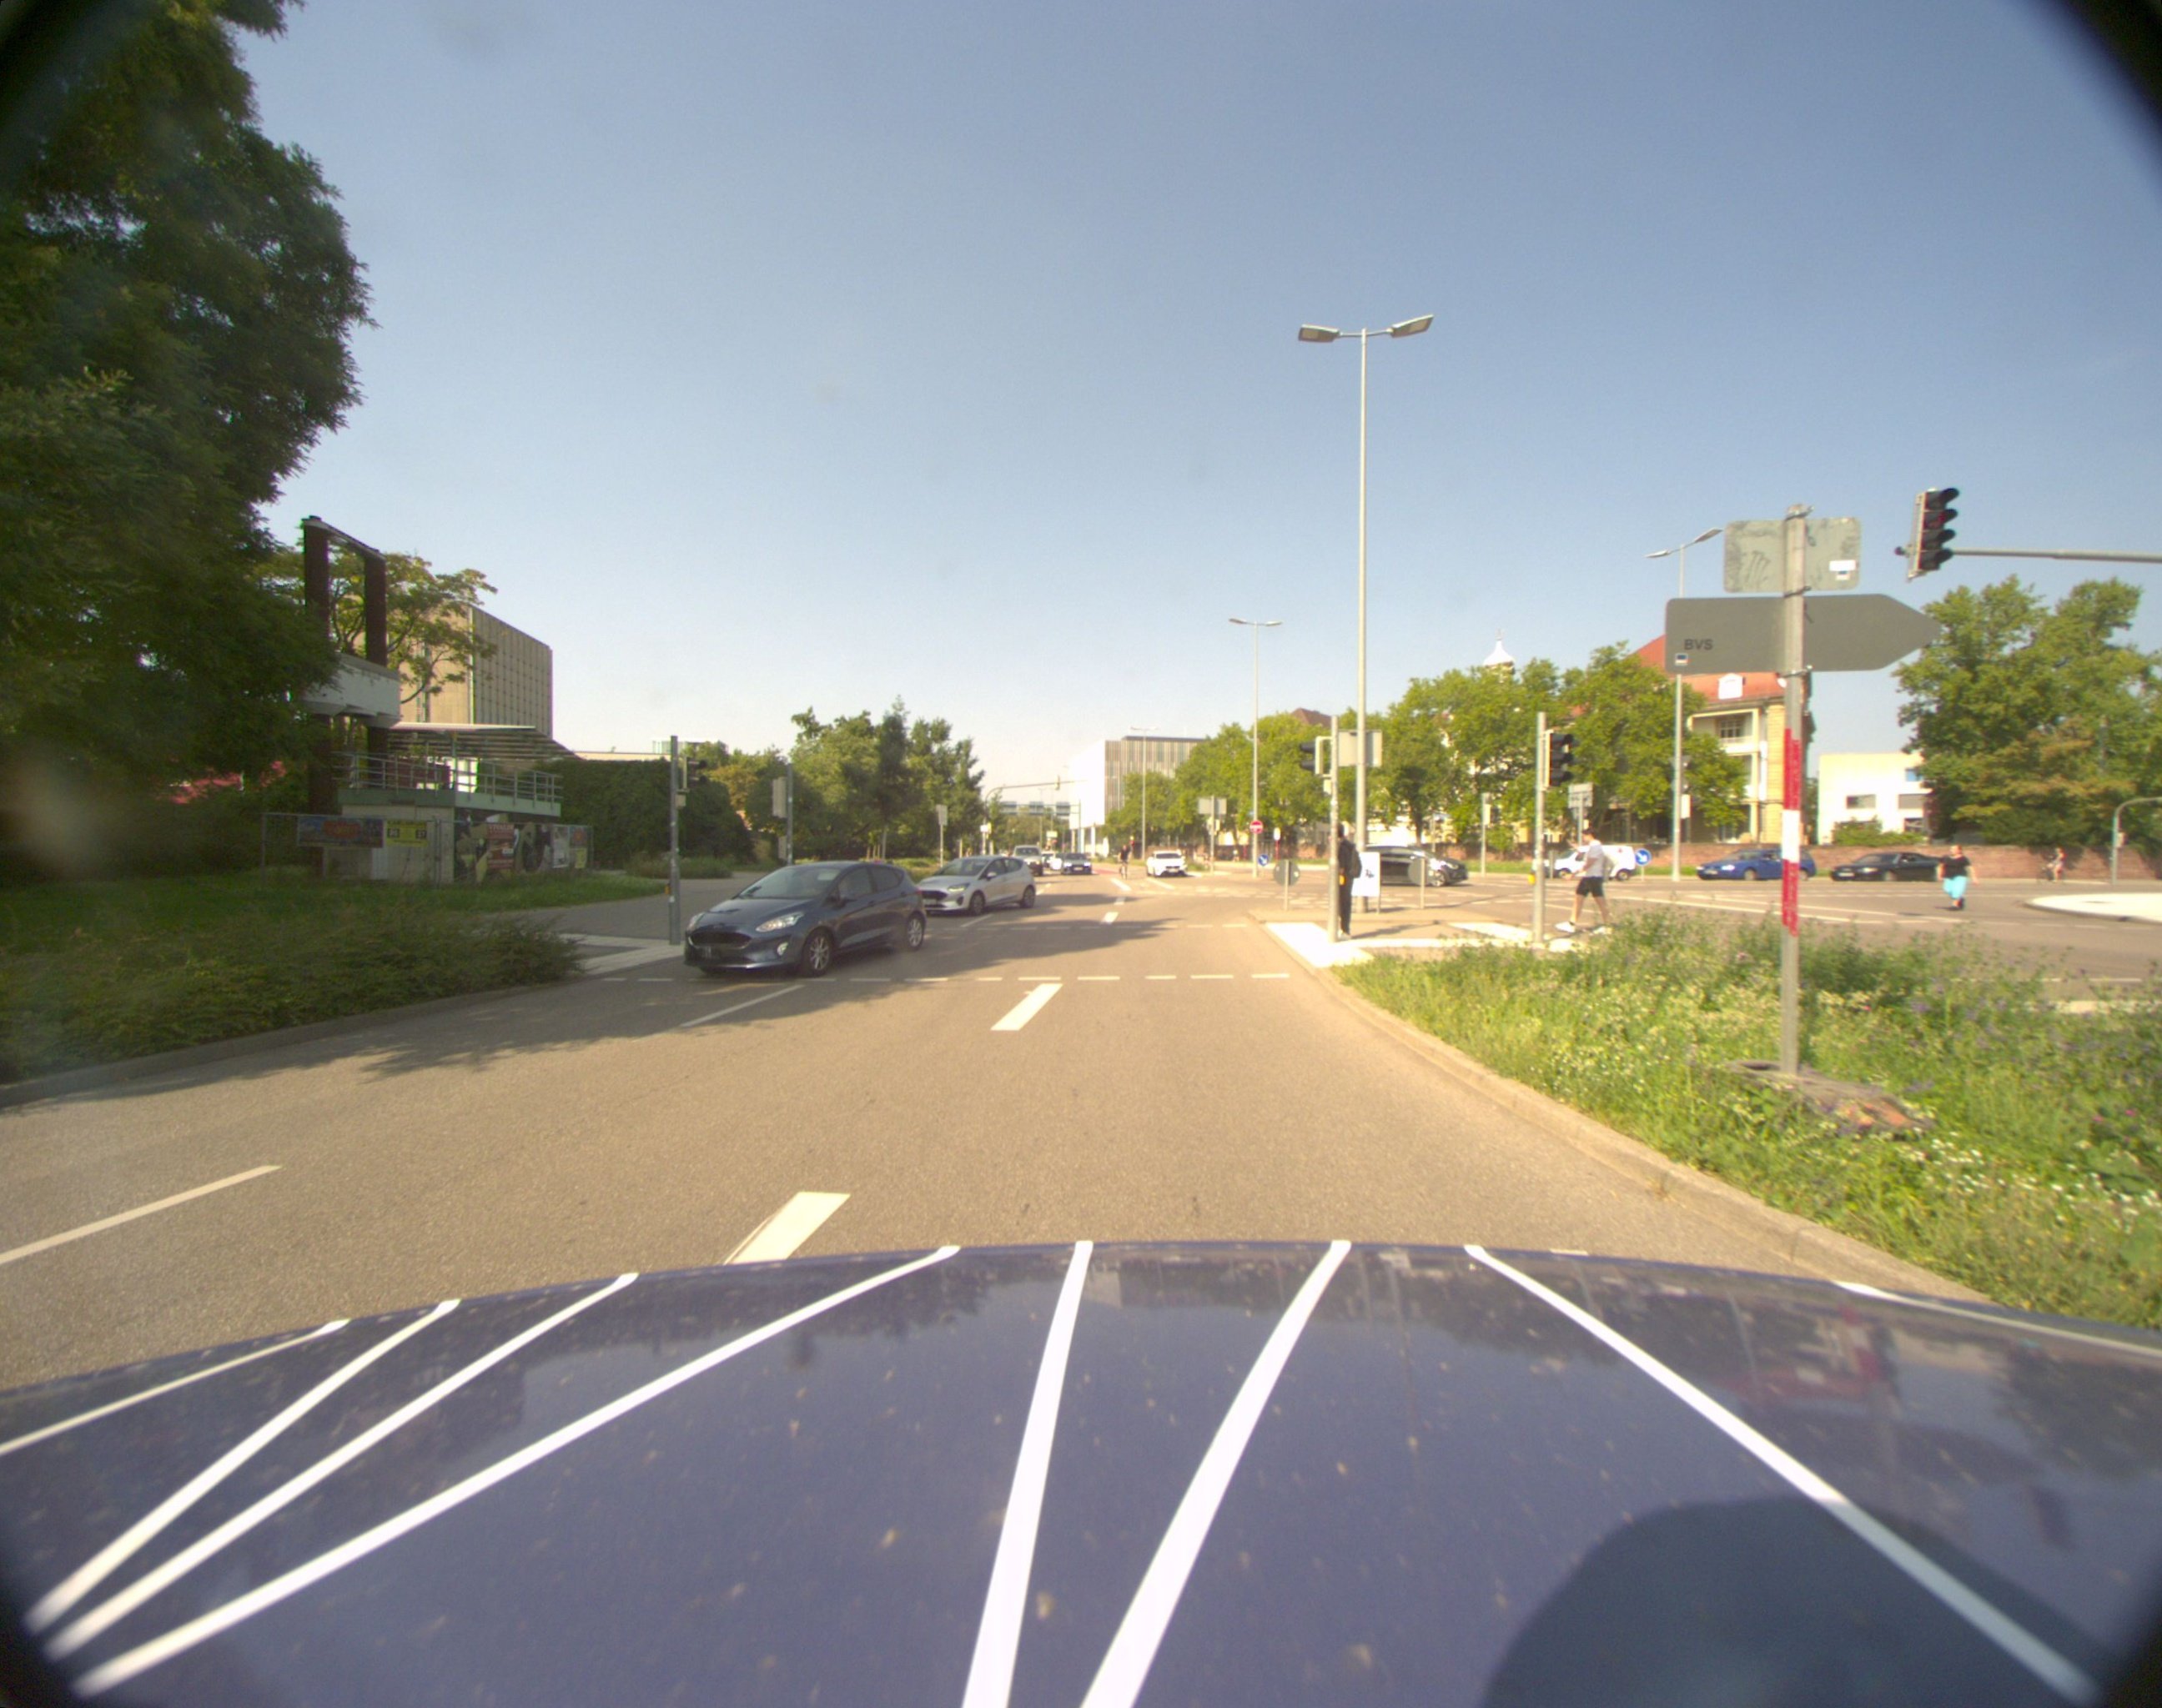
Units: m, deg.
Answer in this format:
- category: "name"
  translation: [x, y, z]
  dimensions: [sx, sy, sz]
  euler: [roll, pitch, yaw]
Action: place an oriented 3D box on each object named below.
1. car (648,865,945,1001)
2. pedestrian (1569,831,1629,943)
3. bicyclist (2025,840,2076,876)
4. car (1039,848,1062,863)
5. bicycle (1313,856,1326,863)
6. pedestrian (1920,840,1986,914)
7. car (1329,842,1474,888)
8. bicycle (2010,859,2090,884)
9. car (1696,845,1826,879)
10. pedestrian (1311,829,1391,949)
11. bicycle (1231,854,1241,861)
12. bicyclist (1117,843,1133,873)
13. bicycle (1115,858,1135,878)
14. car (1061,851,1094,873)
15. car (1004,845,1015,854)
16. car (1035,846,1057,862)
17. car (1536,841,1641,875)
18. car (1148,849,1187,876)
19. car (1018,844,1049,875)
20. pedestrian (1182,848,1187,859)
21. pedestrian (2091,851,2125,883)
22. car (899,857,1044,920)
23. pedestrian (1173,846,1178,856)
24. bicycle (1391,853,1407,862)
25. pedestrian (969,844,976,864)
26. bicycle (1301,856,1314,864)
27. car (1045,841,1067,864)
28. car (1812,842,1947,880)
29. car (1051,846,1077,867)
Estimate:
- category: "car"
  translation: [-3.696, 0.933, 10.838]
  dimensions: [1.637, 1.419, 4.327]
  euler: [-1, 0, 17]
- category: "pedestrian"
  translation: [8.671, 0.528, 12.743]
  dimensions: [0.693, 1.822, 0.571]
  euler: [0, 1, 20]
- category: "bicyclist"
  translation: [47.187, 0.214, 36.990]
  dimensions: [1.369, 1.735, 0.887]
  euler: [0, -1, -6]
- category: "car"
  translation: [-3.133, 0.160, 77.833]
  dimensions: [1.933, 1.497, 4.291]
  euler: [0, 0, -8]
- category: "bicycle"
  translation: [27.528, 0.650, 87.836]
  dimensions: [0.435, 0.830, 1.546]
  euler: [0, 1, -31]
- category: "pedestrian"
  translation: [19.195, 0.487, 16.735]
  dimensions: [0.668, 1.556, 0.752]
  euler: [0, 3, -27]
- category: "car"
  translation: [11.787, 0.352, 28.063]
  dimensions: [4.701, 1.569, 1.857]
  euler: [0, 1, 32]
- category: "bicycle"
  translation: [47.118, 0.841, 36.963]
  dimensions: [3.077, 1.197, 0.887]
  euler: [0, -2, -6]
- category: "car"
  translation: [27.654, 0.298, 30.930]
  dimensions: [4.334, 1.321, 1.606]
  euler: [0, 1, -11]
- category: "pedestrian"
  translation: [4.241, 0.526, 12.004]
  dimensions: [1.081, 1.829, 0.730]
  euler: [0, 1, 10]
- category: "bicycle"
  translation: [20.697, 0.485, 101.509]
  dimensions: [0.434, 0.830, 1.547]
  euler: [0, 1, -23]
- category: "bicyclist"
  translation: [2.363, 0.205, 40.843]
  dimensions: [0.749, 1.626, 0.875]
  euler: [0, 1, -6]
- category: "bicycle"
  translation: [2.355, 0.736, 40.882]
  dimensions: [0.770, 1.046, 1.774]
  euler: [1, 1, -6]
- category: "car"
  translation: [-0.272, 0.492, 49.605]
  dimensions: [1.910, 1.392, 4.918]
  euler: [0, 1, -3]
- category: "car"
  translation: [-13.368, -0.784, 142.458]
  dimensions: [1.832, 1.674, 3.996]
  euler: [0, 1, -8]
- category: "car"
  translation: [-3.910, -0.017, 84.028]
  dimensions: [1.933, 1.650, 4.291]
  euler: [0, 0, -10]
- category: "car"
  translation: [25.438, 0.228, 38.214]
  dimensions: [3.994, 1.667, 1.759]
  euler: [0, -2, 8]
- category: "car"
  translation: [4.833, 0.425, 42.825]
  dimensions: [1.714, 1.428, 3.864]
  euler: [0, 1, -1]
- category: "car"
  translation: [-3.000, 0.289, 48.244]
  dimensions: [1.846, 1.864, 4.971]
  euler: [-1, 1, -3]
- category: "pedestrian"
  translation: [14.918, -0.094, 109.834]
  dimensions: [0.484, 1.641, 0.593]
  euler: [1, -2, -27]
- category: "pedestrian"
  translation: [65.135, 0.817, 48.194]
  dimensions: [0.907, 2.001, 0.822]
  euler: [0, -1, 5]
- category: "car"
  translation: [-2.705, 0.816, 19.665]
  dimensions: [1.716, 1.425, 3.867]
  euler: [-1, 0, 29]
- category: "pedestrian"
  translation: [13.896, -0.423, 112.098]
  dimensions: [0.536, 1.562, 0.501]
  euler: [-1, 1, -29]
- category: "bicycle"
  translation: [33.123, 0.353, 79.172]
  dimensions: [0.435, 0.830, 1.546]
  euler: [0, 1, -34]
- category: "pedestrian"
  translation: [-10.073, -0.011, 70.726]
  dimensions: [0.623, 1.835, 0.641]
  euler: [0, 1, -8]
- category: "bicycle"
  translation: [26.661, 0.701, 89.301]
  dimensions: [0.435, 0.830, 1.546]
  euler: [0, 1, -31]
- category: "car"
  translation: [-2.347, -0.076, 70.568]
  dimensions: [1.749, 2.001, 3.748]
  euler: [0, -2, -7]
- category: "car"
  translation: [33.603, 0.261, 32.023]
  dimensions: [4.000, 1.543, 1.998]
  euler: [0, 1, -9]
- category: "car"
  translation: [-1.377, 0.218, 60.482]
  dimensions: [1.828, 1.586, 3.828]
  euler: [0, -2, -5]
